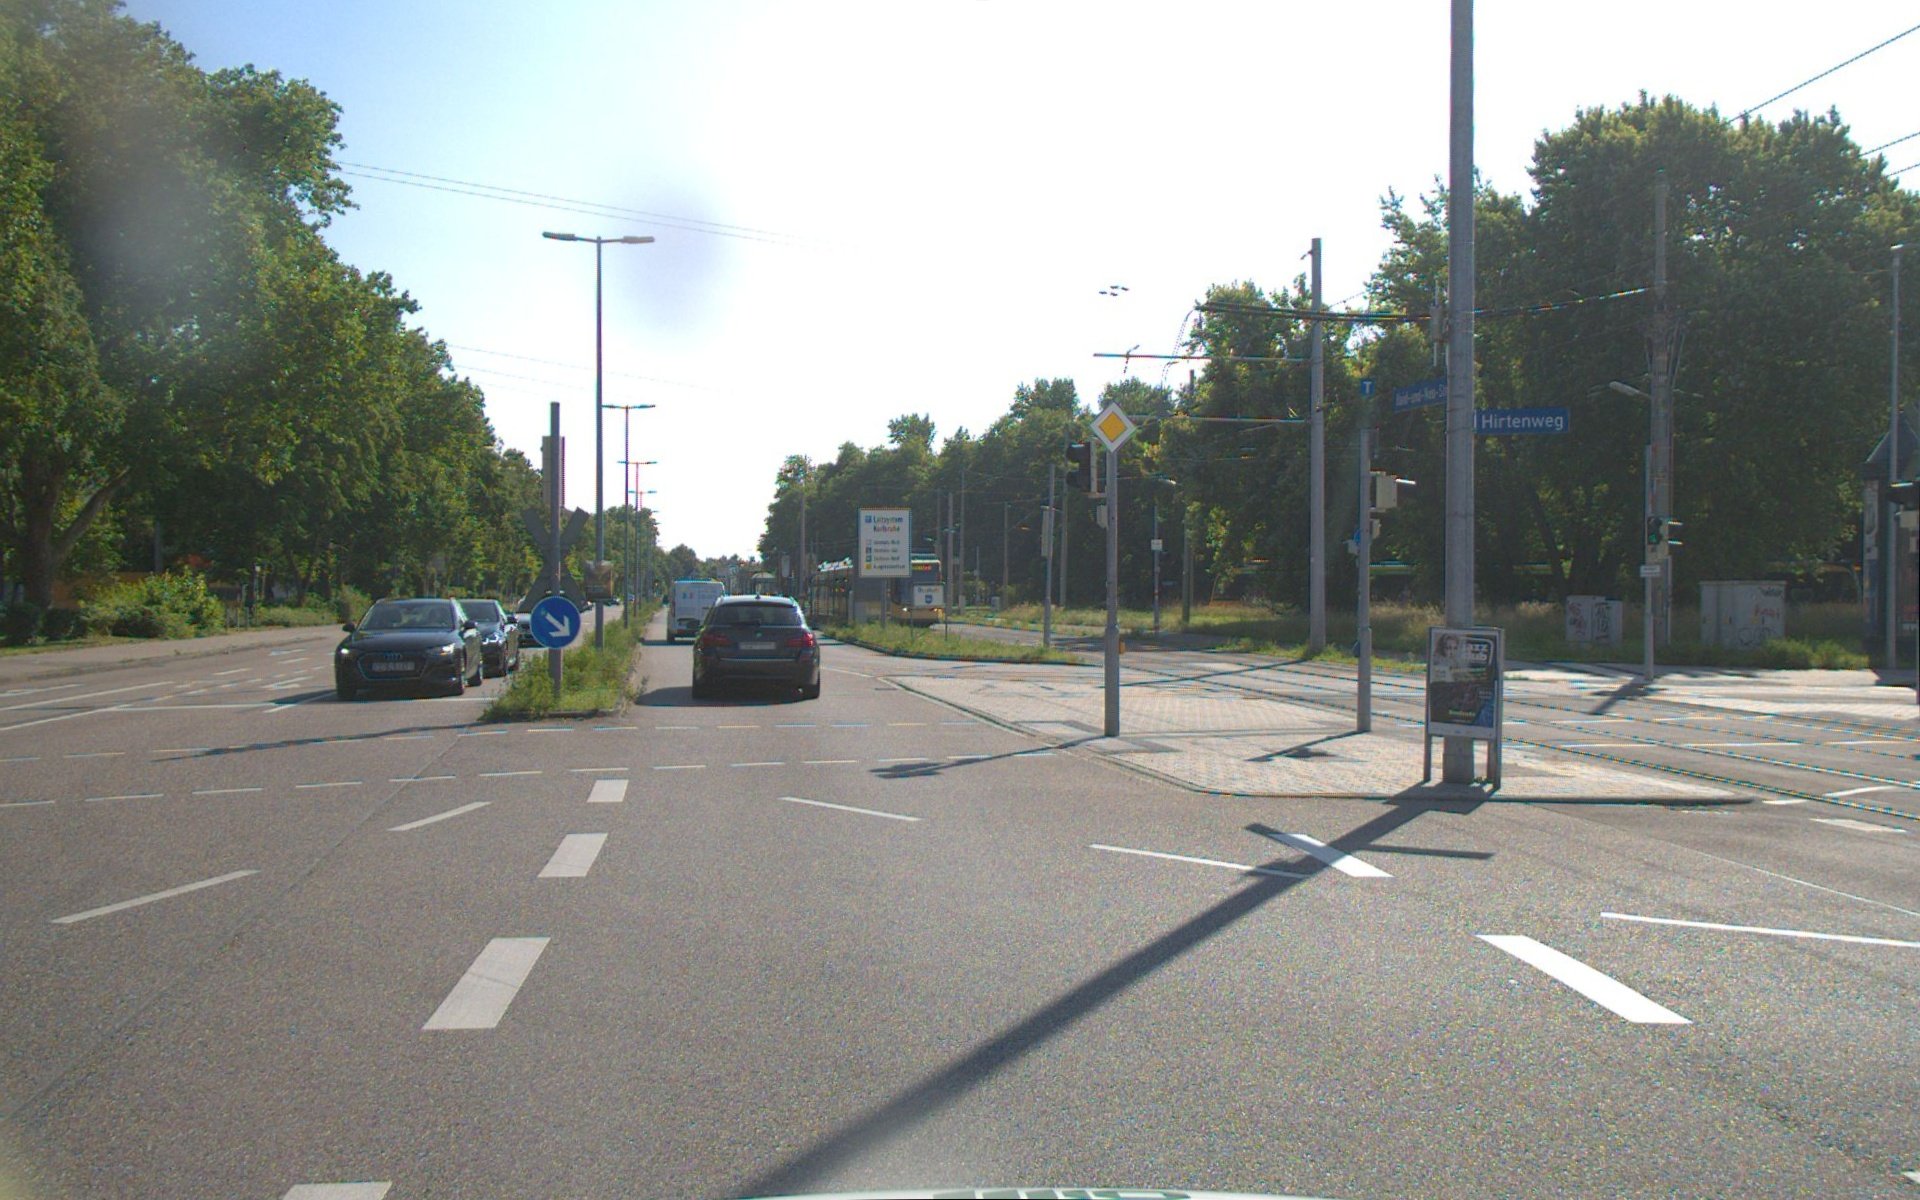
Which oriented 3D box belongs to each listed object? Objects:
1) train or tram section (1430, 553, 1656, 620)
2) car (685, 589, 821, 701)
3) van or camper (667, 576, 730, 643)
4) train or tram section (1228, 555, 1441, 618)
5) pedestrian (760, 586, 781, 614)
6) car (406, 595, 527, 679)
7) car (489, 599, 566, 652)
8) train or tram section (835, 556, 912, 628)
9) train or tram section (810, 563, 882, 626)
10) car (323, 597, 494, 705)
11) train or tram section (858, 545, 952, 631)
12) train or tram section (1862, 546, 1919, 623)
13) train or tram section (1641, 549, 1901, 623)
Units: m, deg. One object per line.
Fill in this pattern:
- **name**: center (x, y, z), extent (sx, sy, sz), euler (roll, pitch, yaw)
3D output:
- **train or tram section**: center (33.176, -0.740, 94.355), extent (11.946, 3.642, 3.052), euler (0, 0, 24)
- **car**: center (-3.124, 0.606, 24.778), extent (1.867, 1.532, 4.057), euler (0, 0, -8)
- **van or camper**: center (-8.743, 0.290, 55.130), extent (1.958, 2.133, 4.587), euler (0, 0, -10)
- **train or tram section**: center (22.347, -0.776, 98.787), extent (12.141, 3.642, 3.055), euler (0, 0, 19)
- **pedestrian**: center (-11.139, 0.000, 97.305), extent (0.978, 1.663, 0.721), euler (0, 0, 23)
- **car**: center (-9.432, 0.650, 31.905), extent (1.796, 1.460, 4.369), euler (-1, 0, -11)
- **car**: center (-13.054, 0.737, 50.152), extent (1.814, 1.503, 4.636), euler (0, 0, -9)
- **train or tram section**: center (-4.812, -0.361, 89.341), extent (2.700, 3.616, 11.227), euler (1, -1, -10)
- **train or tram section**: center (-7.187, -0.249, 102.122), extent (2.637, 3.542, 14.928), euler (1, -1, -11)
- **car**: center (-8.392, 0.703, 25.547), extent (1.796, 1.456, 4.720), euler (-1, 0, -10)
- **train or tram section**: center (-2.740, -0.462, 77.448), extent (2.745, 3.682, 12.926), euler (1, -1, -9)
- **train or tram section**: center (47.343, -0.725, 76.375), extent (2.989, 3.642, 12.199), euler (0, 0, -11)
- **train or tram section**: center (42.412, -0.709, 86.976), extent (3.032, 3.642, 12.027), euler (0, 0, -45)
